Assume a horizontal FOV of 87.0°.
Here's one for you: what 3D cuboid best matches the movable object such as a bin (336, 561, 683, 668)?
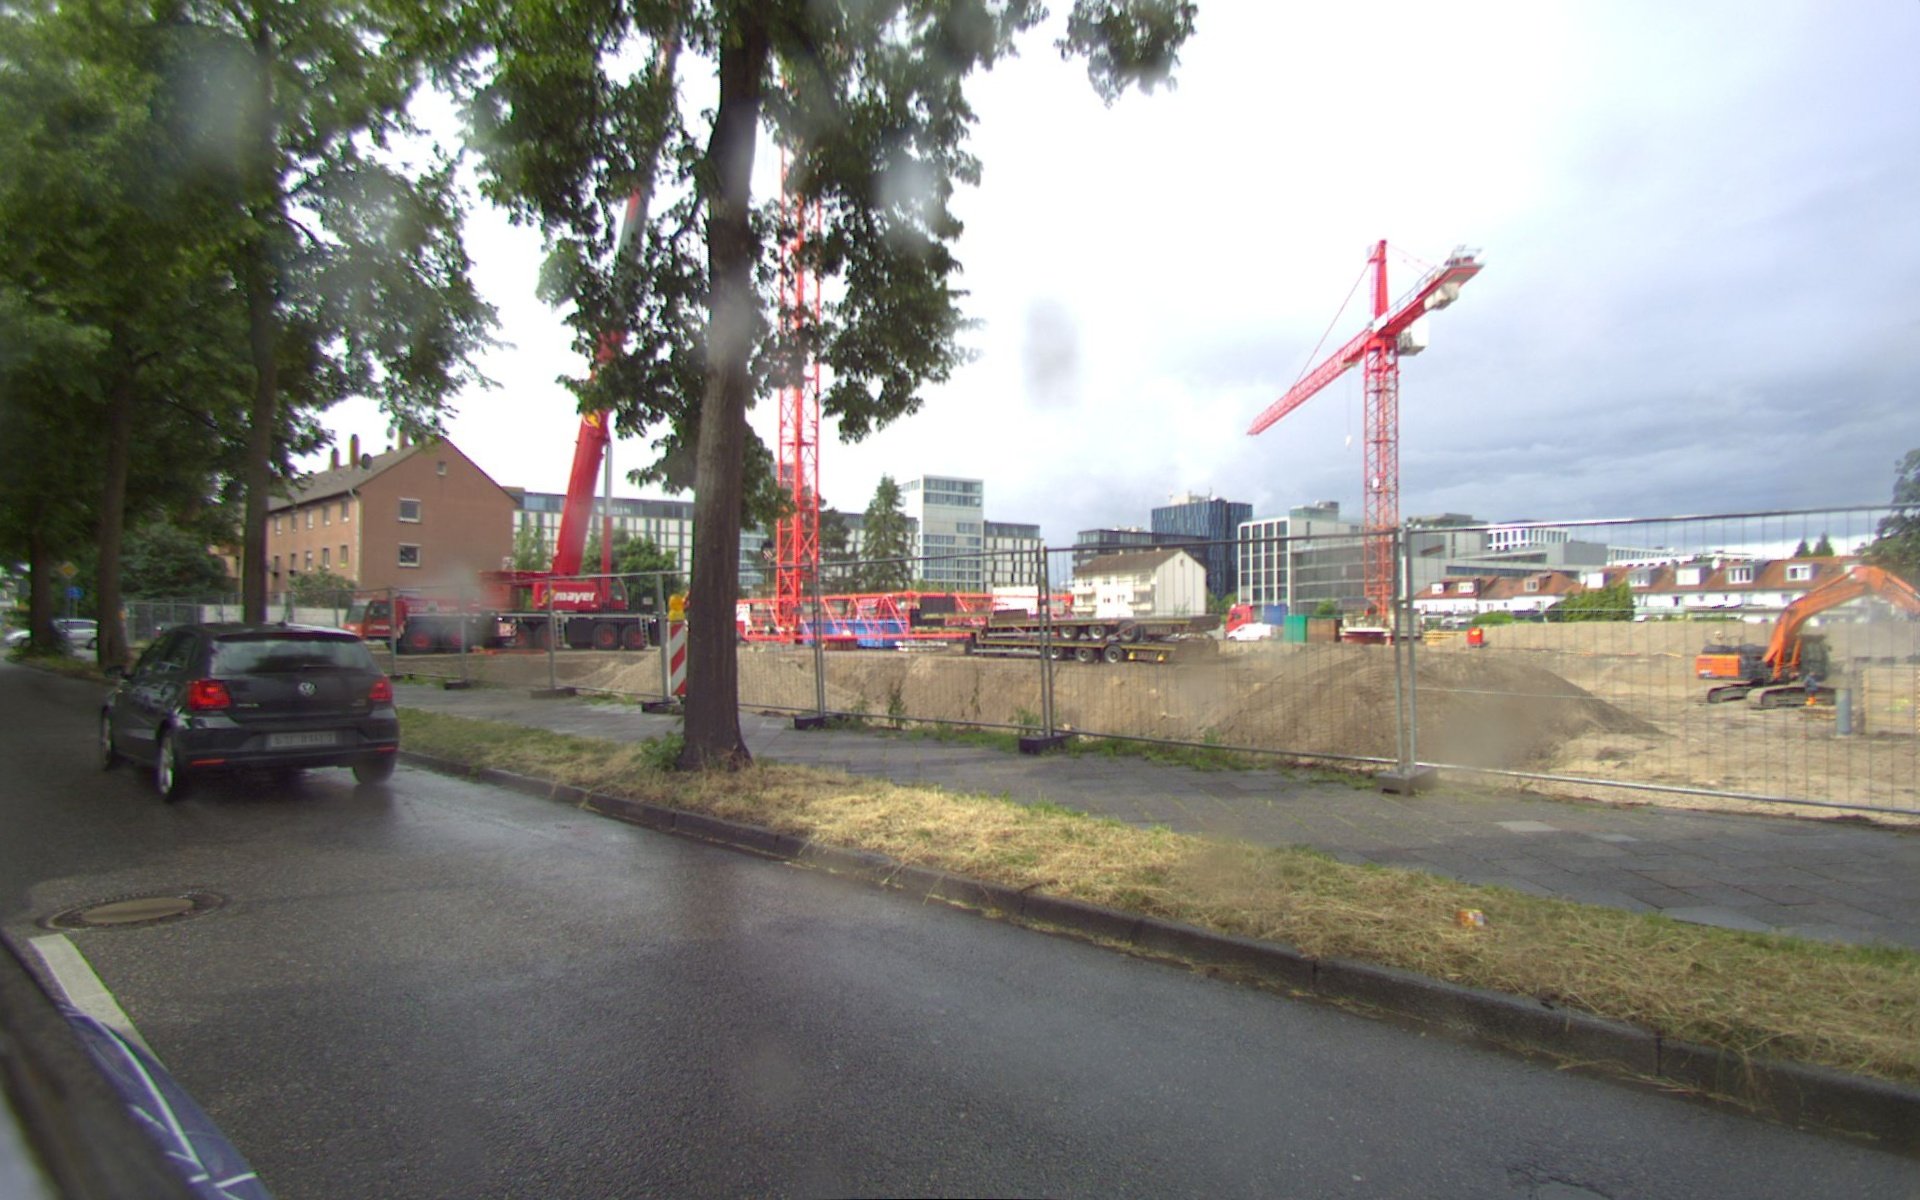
[{"bbox_3d":[-21.564,0.560,50.175,3.103,4.592,15.727,0,0,44],"label":"movable object such as a bin"}]

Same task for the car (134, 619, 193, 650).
[{"bbox_3d":[-42.856,1.806,54.403,3.996,1.541,1.672,0,0,39],"label":"car"}]

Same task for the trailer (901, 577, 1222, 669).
[{"bbox_3d":[3.712,0.845,42.578,14.302,3.257,2.930,0,2,41],"label":"trailer"}]

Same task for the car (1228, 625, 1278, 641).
[{"bbox_3d":[29.939,3.372,103.557,4.582,1.529,1.797,0,0,44],"label":"car"}]

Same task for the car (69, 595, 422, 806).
[{"bbox_3d":[-6.799,0.790,9.480,3.980,1.552,1.794,-1,-3,42],"label":"car"}]

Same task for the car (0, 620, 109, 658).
[{"bbox_3d":[-42.580,1.786,47.500,1.696,1.563,3.822,0,0,39],"label":"car"}]

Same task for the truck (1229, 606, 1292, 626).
[{"bbox_3d":[32.183,1.702,108.422,6.292,2.095,1.884,0,0,25],"label":"truck"}]
